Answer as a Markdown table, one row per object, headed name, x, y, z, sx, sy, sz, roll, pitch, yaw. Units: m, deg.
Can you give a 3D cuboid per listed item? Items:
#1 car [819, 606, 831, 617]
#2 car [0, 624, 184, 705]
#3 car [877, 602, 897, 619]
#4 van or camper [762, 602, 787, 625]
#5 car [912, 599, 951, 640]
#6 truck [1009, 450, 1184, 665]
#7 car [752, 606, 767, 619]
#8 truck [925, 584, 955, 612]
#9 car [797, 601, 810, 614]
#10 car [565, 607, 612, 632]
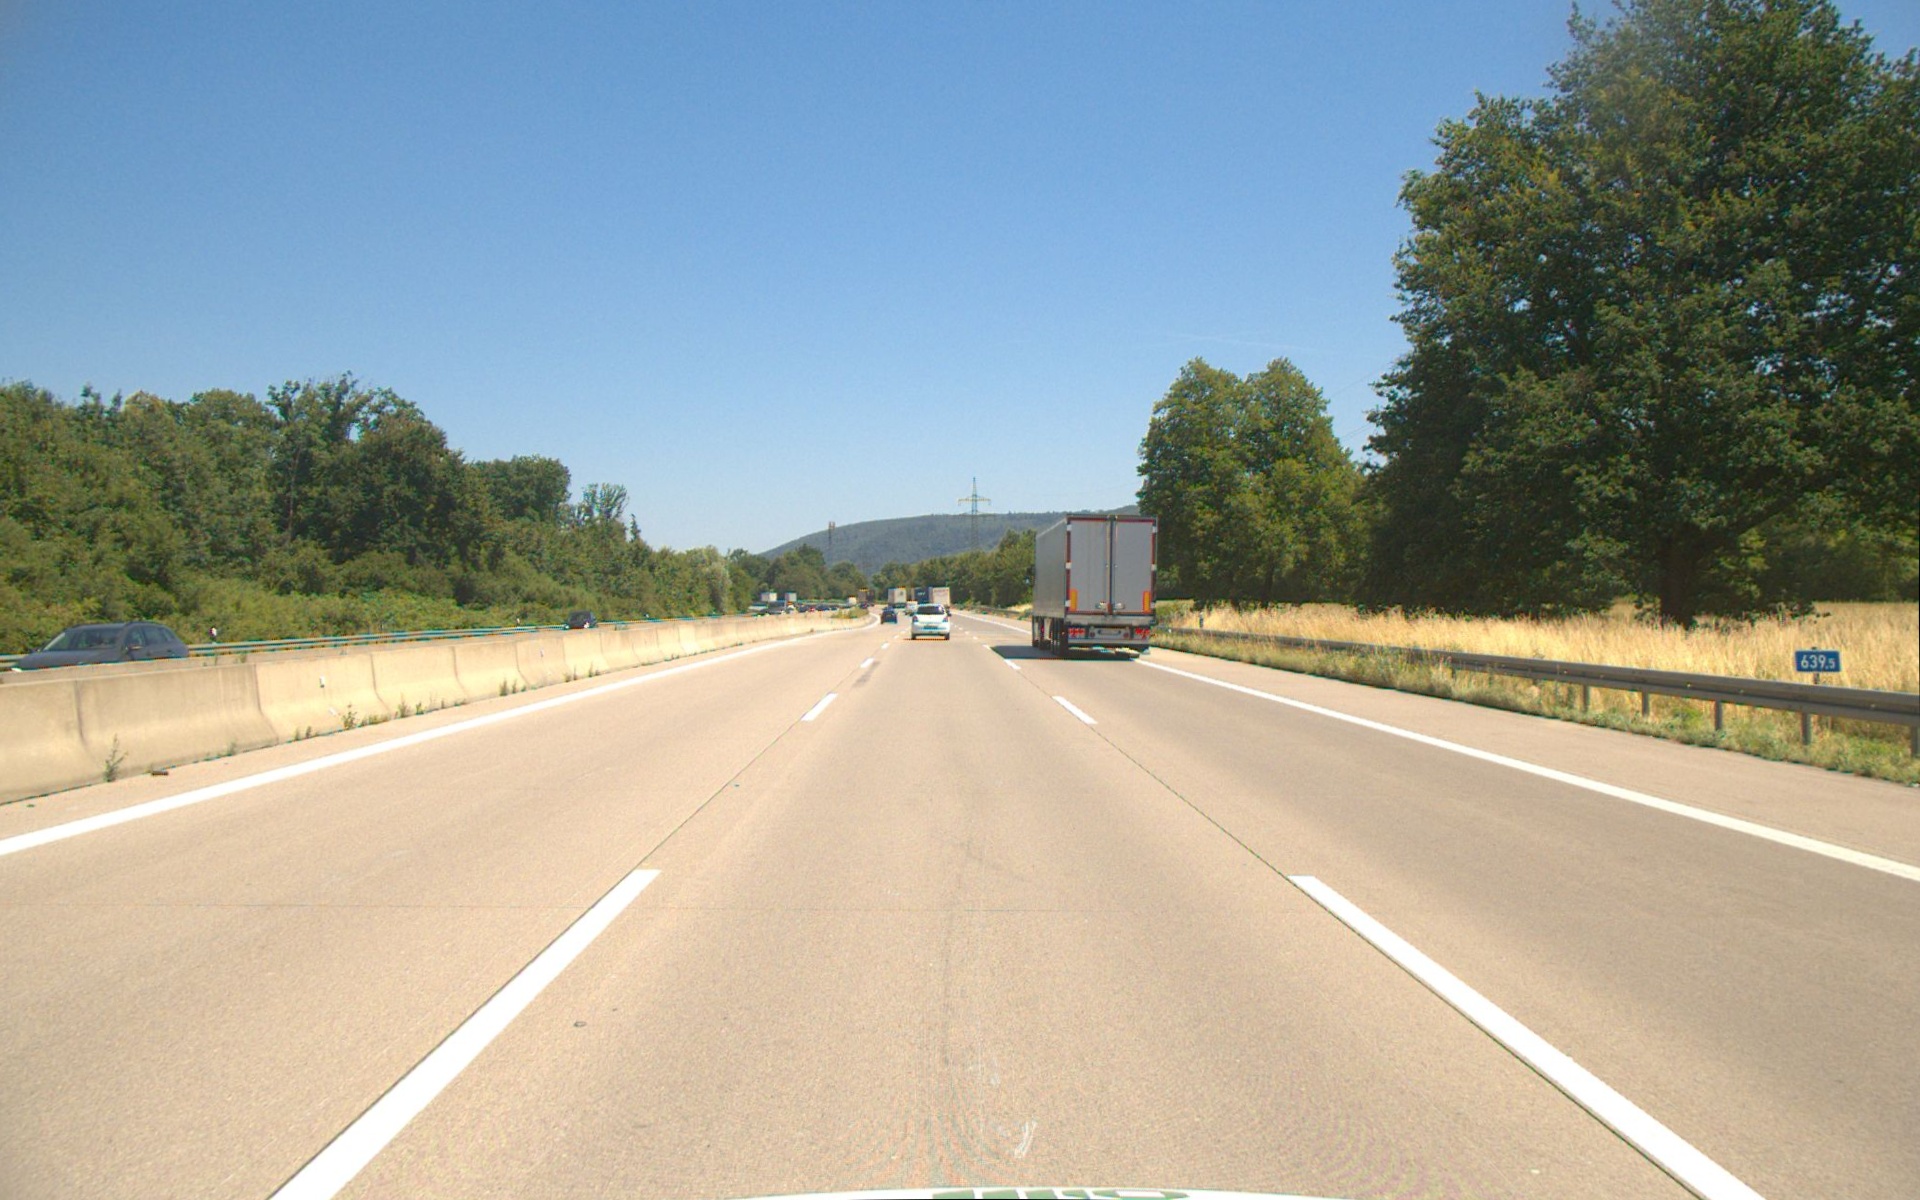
| name | x | y | z | sx | sy | sz | roll | pitch | yaw |
| --- | --- | --- | --- | --- | --- | --- | --- | --- | --- |
| car | -21.144 | 1.765 | 259.425 | 1.763 | 1.699 | 4.216 | -1 | 0 | -2 |
| car | -16.521 | 1.160 | 31.207 | 1.643 | 1.338 | 4.858 | 0 | 0 | -2 |
| car | -7.839 | 1.097 | 177.779 | 1.982 | 1.730 | 3.997 | 2 | 0 | -4 |
| van or camper | -15.855 | 1.121 | 141.379 | 1.810 | 1.915 | 4.415 | 0 | 0 | -2 |
| car | -1.238 | 0.812 | 71.468 | 1.608 | 1.691 | 3.359 | 1 | 0 | -1 |
| truck | 4.013 | -1.224 | 54.540 | 3.505 | 5.888 | 18.238 | 0 | 0 | -2 |
| car | -26.775 | 1.623 | 221.087 | 1.669 | 1.687 | 4.088 | -1 | -1 | -3 |
| truck | -3.128 | -0.362 | 254.389 | 3.745 | 3.957 | 14.144 | -4 | 0 | -3 |
| car | -22.008 | 1.058 | 233.075 | 1.669 | 1.687 | 4.404 | 0 | 0 | -3 |
| car | -21.810 | 1.140 | 97.251 | 1.888 | 1.400 | 3.999 | -1 | 0 | 0 |
